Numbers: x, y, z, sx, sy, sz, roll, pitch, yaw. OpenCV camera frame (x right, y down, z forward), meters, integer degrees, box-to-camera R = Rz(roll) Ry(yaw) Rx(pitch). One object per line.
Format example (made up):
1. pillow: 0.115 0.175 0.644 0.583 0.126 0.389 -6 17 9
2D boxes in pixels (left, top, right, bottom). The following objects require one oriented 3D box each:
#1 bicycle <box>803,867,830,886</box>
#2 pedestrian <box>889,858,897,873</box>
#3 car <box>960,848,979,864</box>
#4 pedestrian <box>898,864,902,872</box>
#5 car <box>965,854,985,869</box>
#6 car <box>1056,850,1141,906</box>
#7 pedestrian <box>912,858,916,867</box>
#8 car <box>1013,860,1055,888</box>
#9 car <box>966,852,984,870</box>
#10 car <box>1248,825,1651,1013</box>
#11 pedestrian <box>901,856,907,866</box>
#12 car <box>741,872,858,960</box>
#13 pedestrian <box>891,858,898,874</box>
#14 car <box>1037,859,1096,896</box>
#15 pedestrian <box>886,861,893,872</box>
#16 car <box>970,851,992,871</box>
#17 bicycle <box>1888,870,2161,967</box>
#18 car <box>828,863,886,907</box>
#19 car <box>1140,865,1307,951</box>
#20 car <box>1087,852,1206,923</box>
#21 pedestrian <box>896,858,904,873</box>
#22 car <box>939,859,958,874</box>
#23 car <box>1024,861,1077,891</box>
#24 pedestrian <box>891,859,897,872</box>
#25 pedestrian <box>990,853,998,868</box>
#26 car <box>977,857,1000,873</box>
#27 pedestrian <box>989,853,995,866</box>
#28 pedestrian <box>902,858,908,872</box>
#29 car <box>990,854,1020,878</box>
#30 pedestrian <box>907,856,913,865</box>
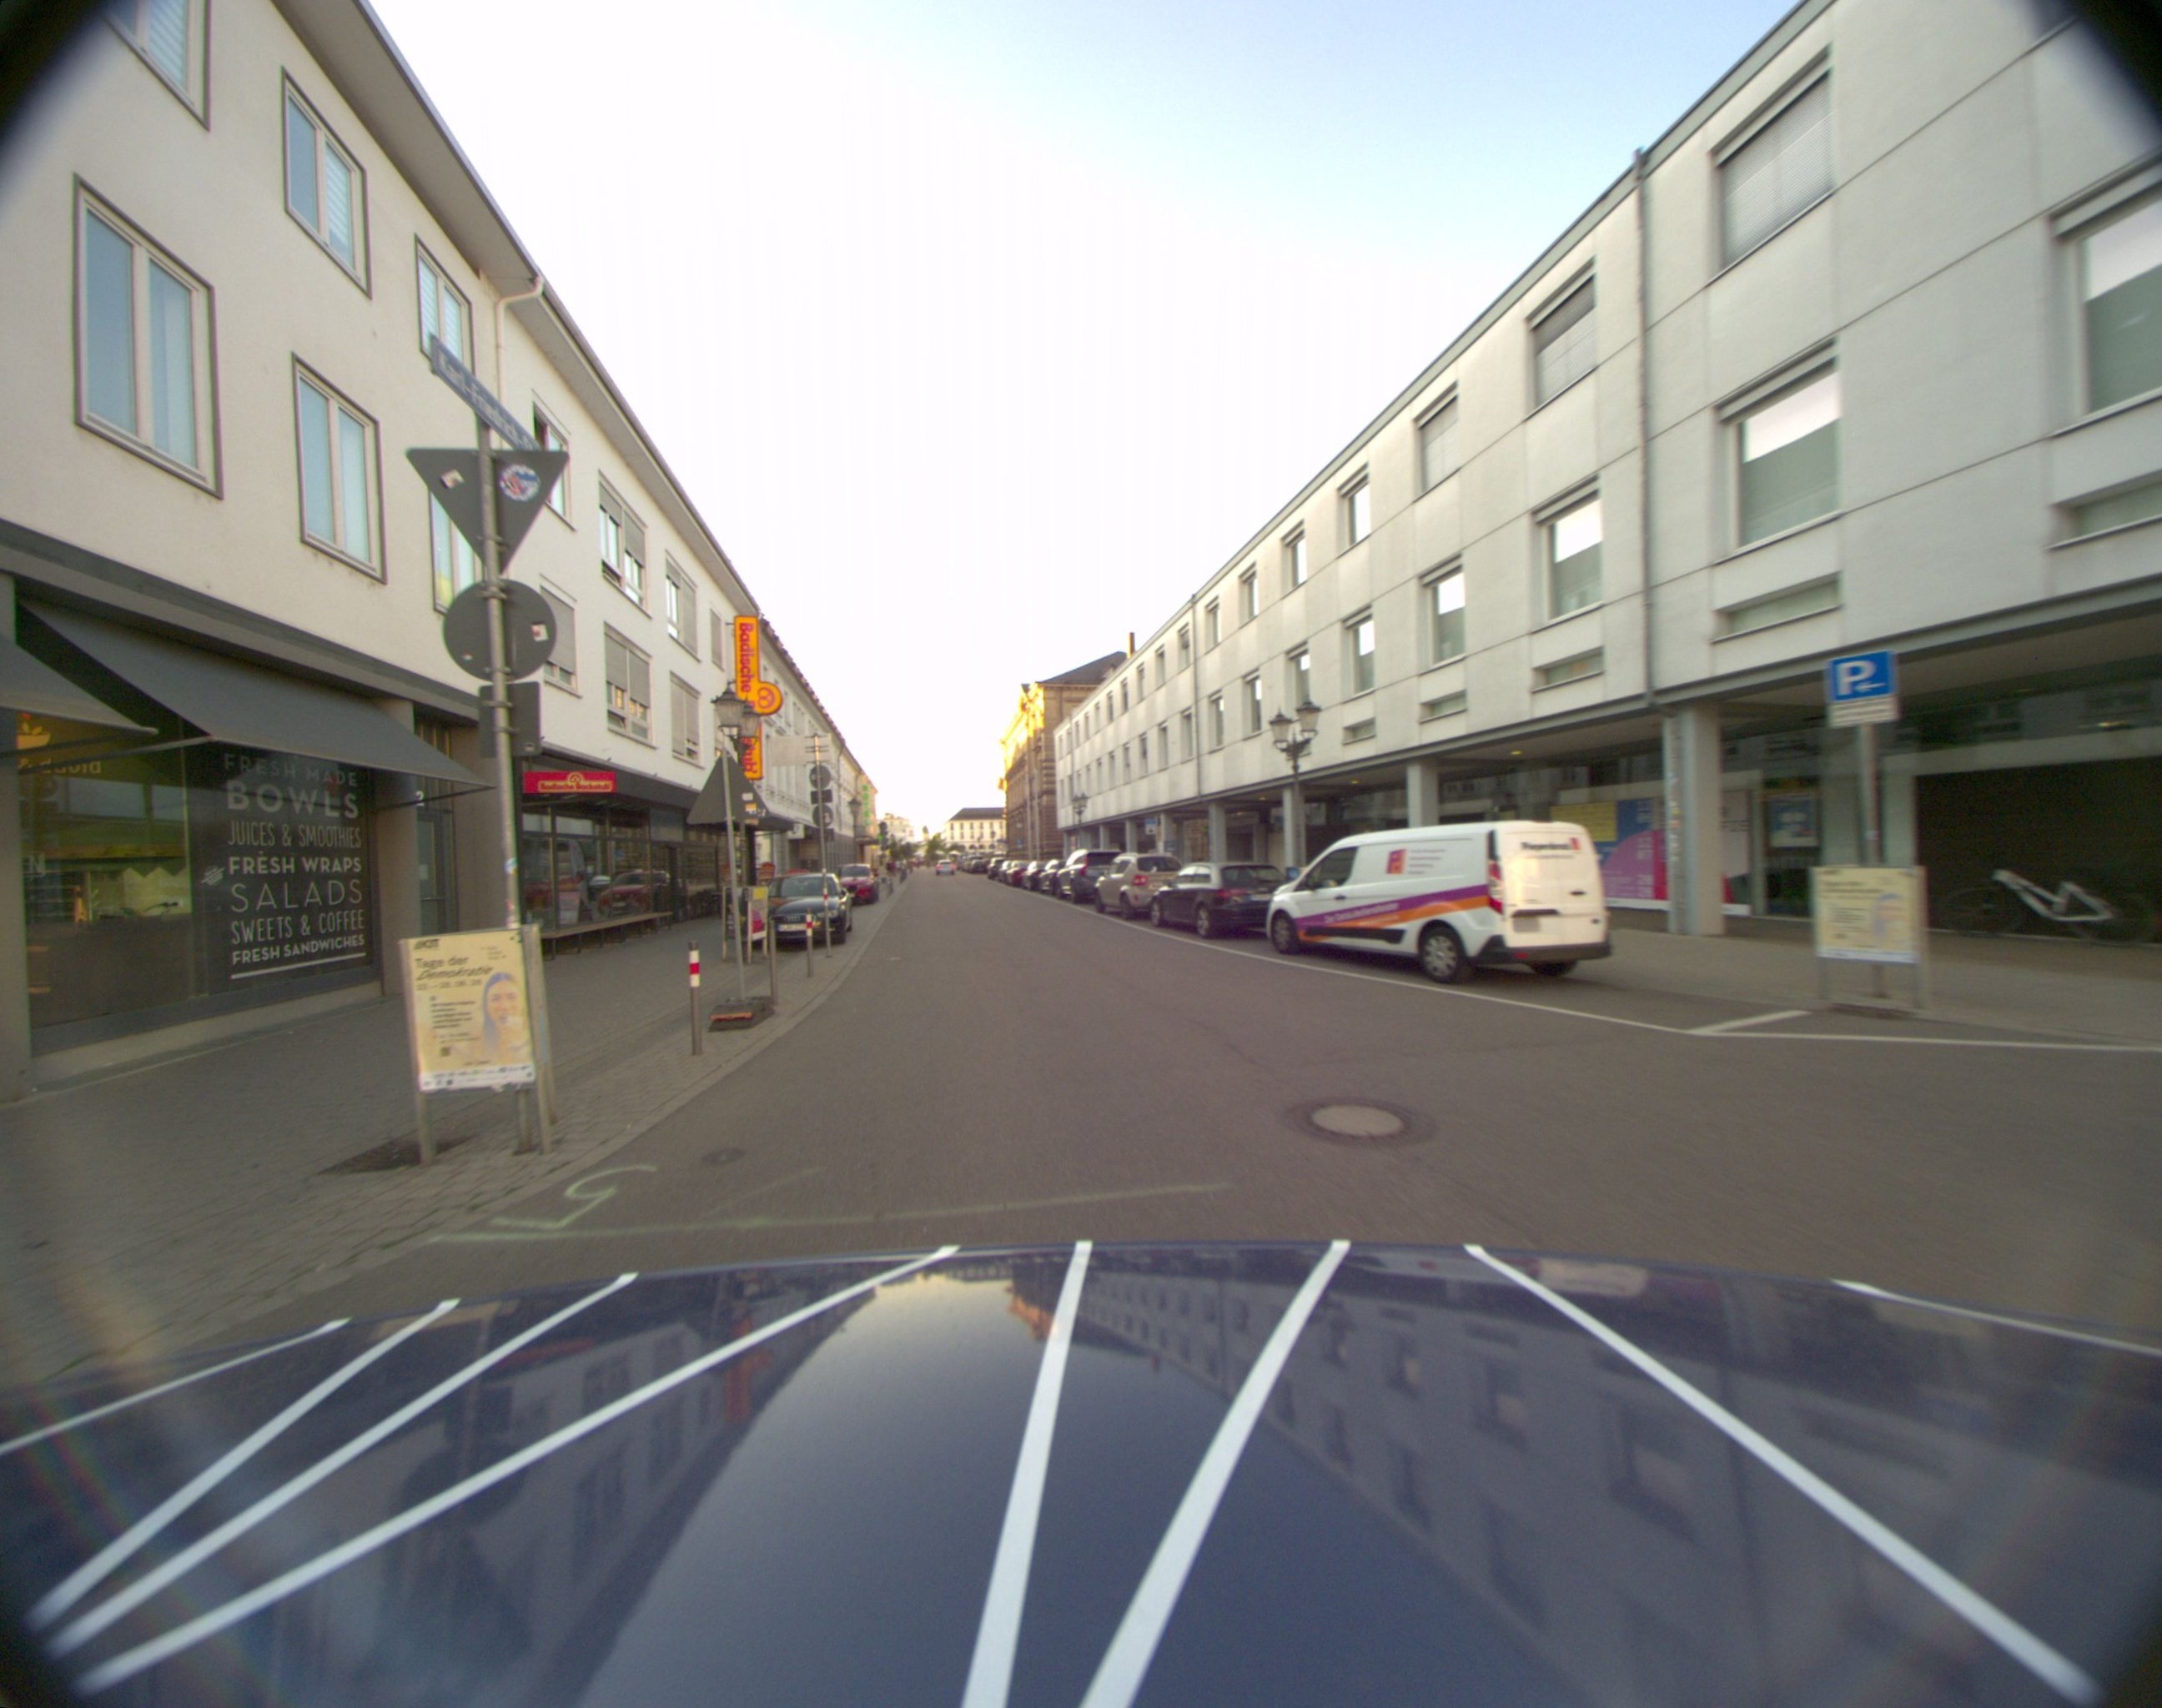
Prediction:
1. bicycle: -17.993 1.525 51.762 1.663 1.245 0.438 -2 1 -14
2. pedestrian: -21.708 1.352 87.789 0.716 1.720 0.872 -2 1 -9
3. car: -15.222 0.291 103.840 2.001 2.158 5.201 -2 0 -14
4. pedestrian: -22.364 1.719 93.975 0.461 0.974 0.558 -2 1 -10
5. car: -12.768 0.856 91.590 2.000 1.742 4.984 -2 0 -11
6. car: 0.479 0.747 25.777 2.000 1.718 4.511 -1 0 -11
7. pedestrian: -29.507 1.463 134.240 0.684 1.557 0.652 -2 1 -13
8. car: -2.642 1.048 42.083 1.791 1.400 4.084 -2 0 -10
9. car: -13.588 0.859 97.213 2.000 2.075 5.202 -2 0 -11
10. car: 4.360 0.650 10.050 2.001 1.805 4.776 -2 0 -18
11. pedestrian: -31.564 1.239 135.544 0.607 1.720 0.719 -2 1 32
12. car: -5.714 1.172 15.871 1.808 1.455 4.112 -1 0 -14
13. pedestrian: -21.240 1.389 86.688 0.622 1.779 0.913 -2 1 -7
14. car: -0.652 0.919 31.356 1.679 1.392 3.996 -1 0 -12
15. pedestrian: -24.709 1.653 98.029 0.778 1.351 0.722 -2 1 -27
16. car: -11.318 0.755 85.628 2.000 2.065 4.984 -2 1 -12
17. bicycle: 11.728 0.721 9.397 0.735 0.978 2.333 -3 0 -12
18. car: -8.700 1.166 29.730 1.765 1.514 3.674 -2 0 -11
19. car: 2.620 0.949 15.035 1.684 1.345 4.100 -2 0 -14
20. car: 1.555 0.790 19.662 2.001 1.652 3.996 1 0 -12
21. pedestrian: -21.017 1.331 88.276 0.750 1.720 0.881 -2 1 -5
22. car: -13.313 1.192 76.269 1.770 1.413 3.996 -1 0 -12
23. car: -1.539 1.023 37.071 2.000 1.346 3.996 0 0 -11
24. pedestrian: -23.066 1.425 93.856 0.632 1.591 0.614 -2 1 -10
25. pedestrian: -10.447 0.743 91.198 0.716 1.720 0.895 -5 1 -10
26. car: -9.681 1.136 79.195 2.000 1.486 4.160 -2 0 -11
27. pedestrian: -12.156 0.744 103.746 0.609 1.720 0.702 -2 1 -10
28. pedestrian: -21.855 1.364 94.448 0.609 1.720 0.558 -2 1 -10
29. car: -5.503 0.820 54.654 1.791 1.605 4.162 -2 0 -10
30. pedestrian: -30.546 1.163 135.927 0.667 1.720 0.767 -2 1 32
